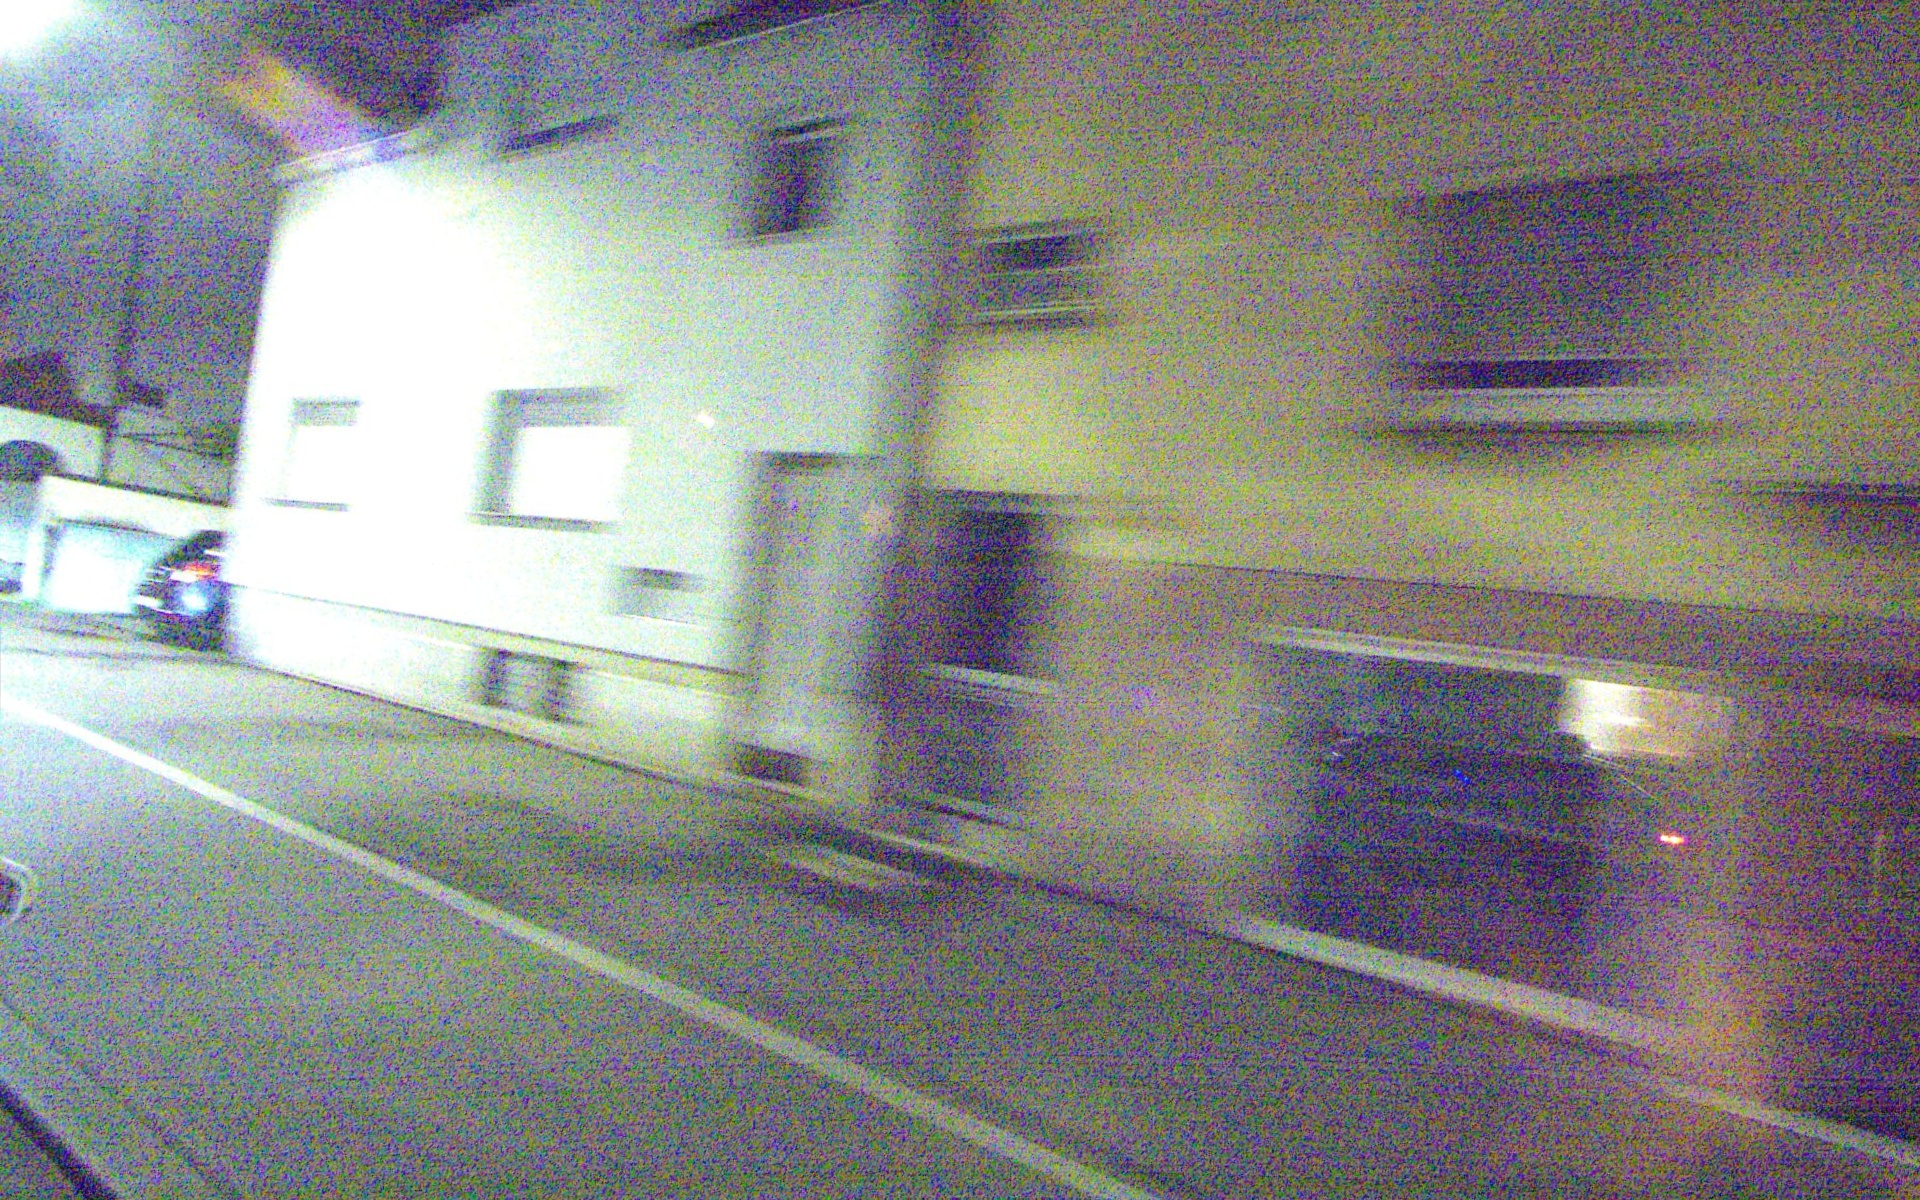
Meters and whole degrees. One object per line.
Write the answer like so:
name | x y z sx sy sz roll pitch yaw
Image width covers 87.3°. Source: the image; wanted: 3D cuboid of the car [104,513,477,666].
car | -8.862 -0.065 13.613 1.703 1.489 3.718 6 -3 34
